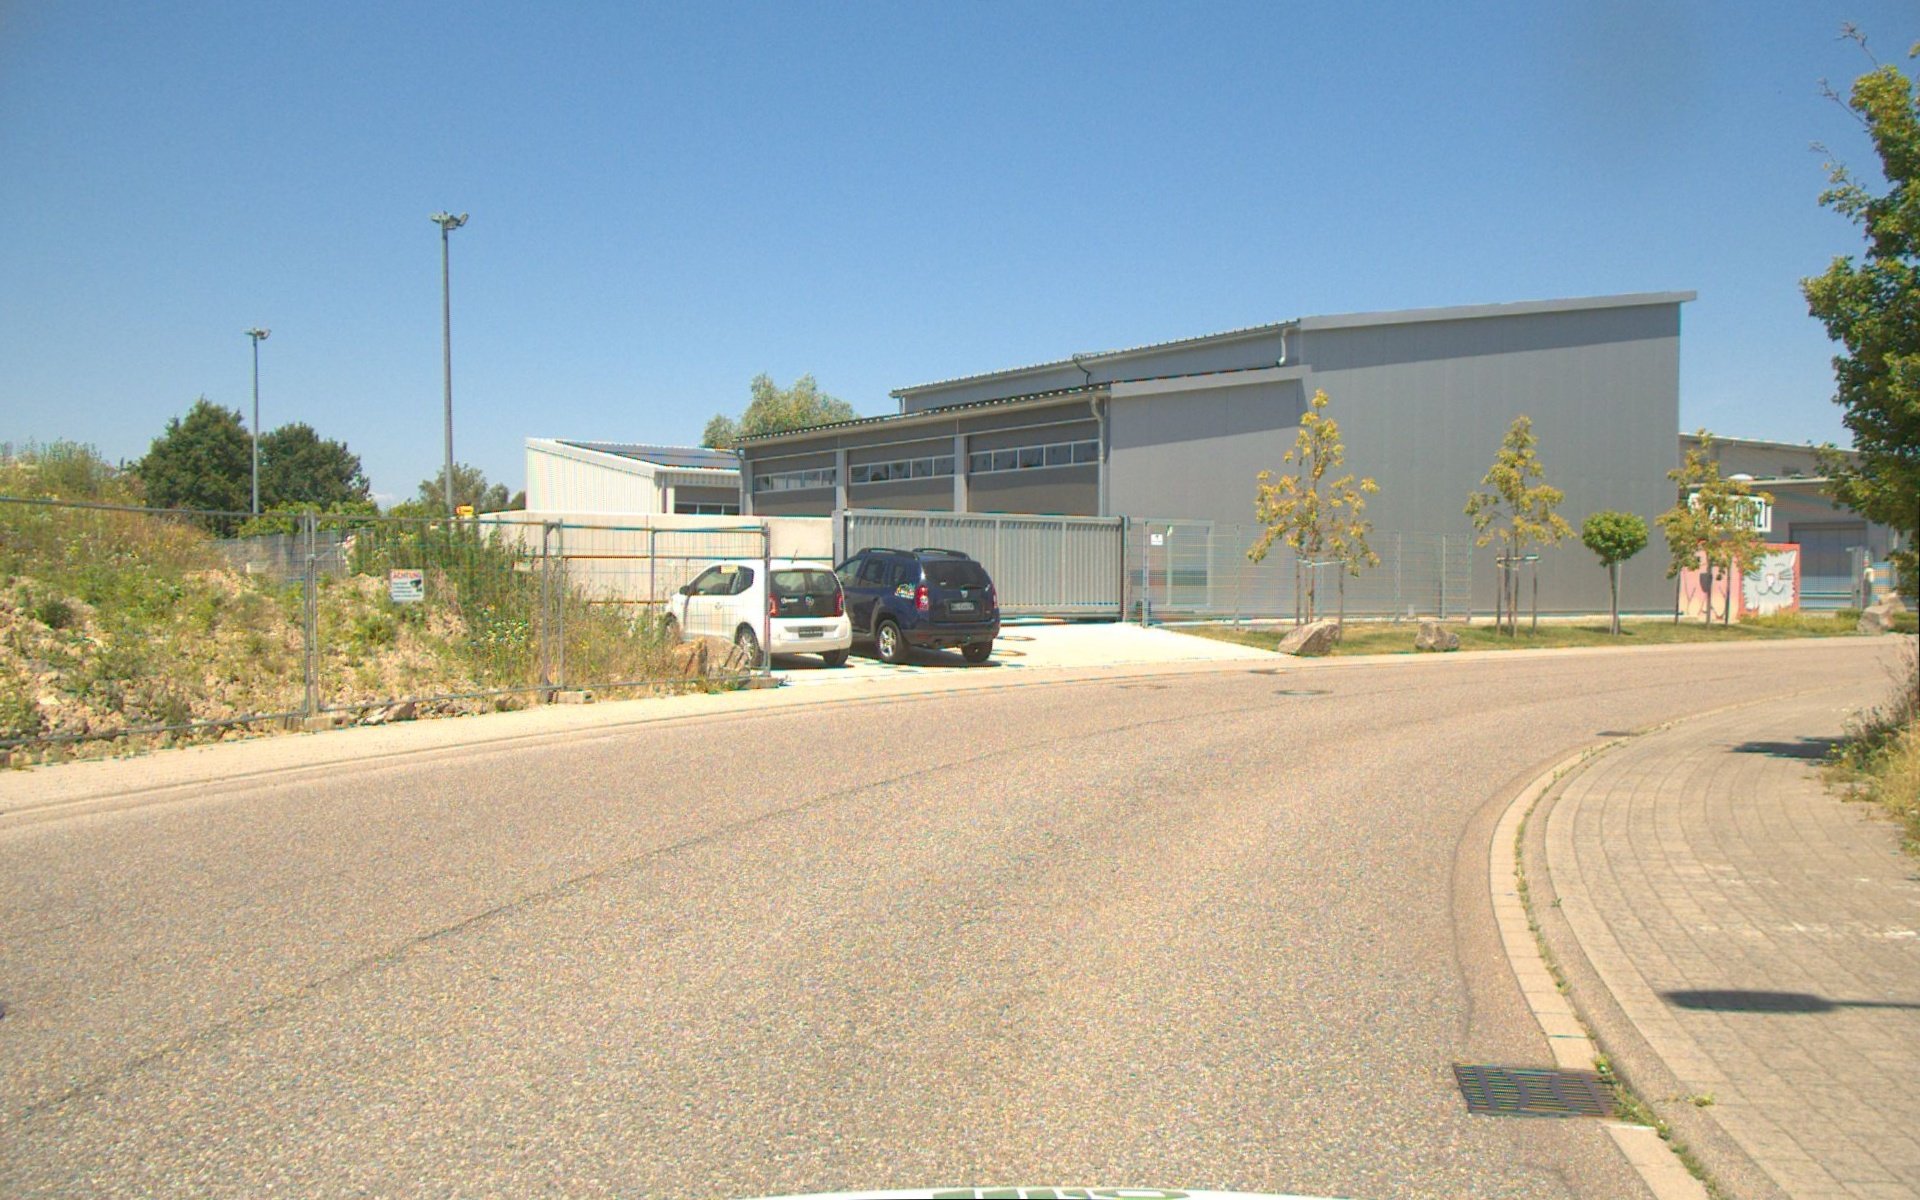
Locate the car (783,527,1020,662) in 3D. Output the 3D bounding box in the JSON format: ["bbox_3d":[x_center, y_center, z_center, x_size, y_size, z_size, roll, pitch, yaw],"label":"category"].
[{"bbox_3d":[-1.010,-0.151,26.068,1.761,1.686,4.129,0,6,-34],"label":"car"}]

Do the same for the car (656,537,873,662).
[{"bbox_3d":[-2.952,-0.060,24.488,1.762,1.486,3.331,0,6,-36],"label":"car"}]
